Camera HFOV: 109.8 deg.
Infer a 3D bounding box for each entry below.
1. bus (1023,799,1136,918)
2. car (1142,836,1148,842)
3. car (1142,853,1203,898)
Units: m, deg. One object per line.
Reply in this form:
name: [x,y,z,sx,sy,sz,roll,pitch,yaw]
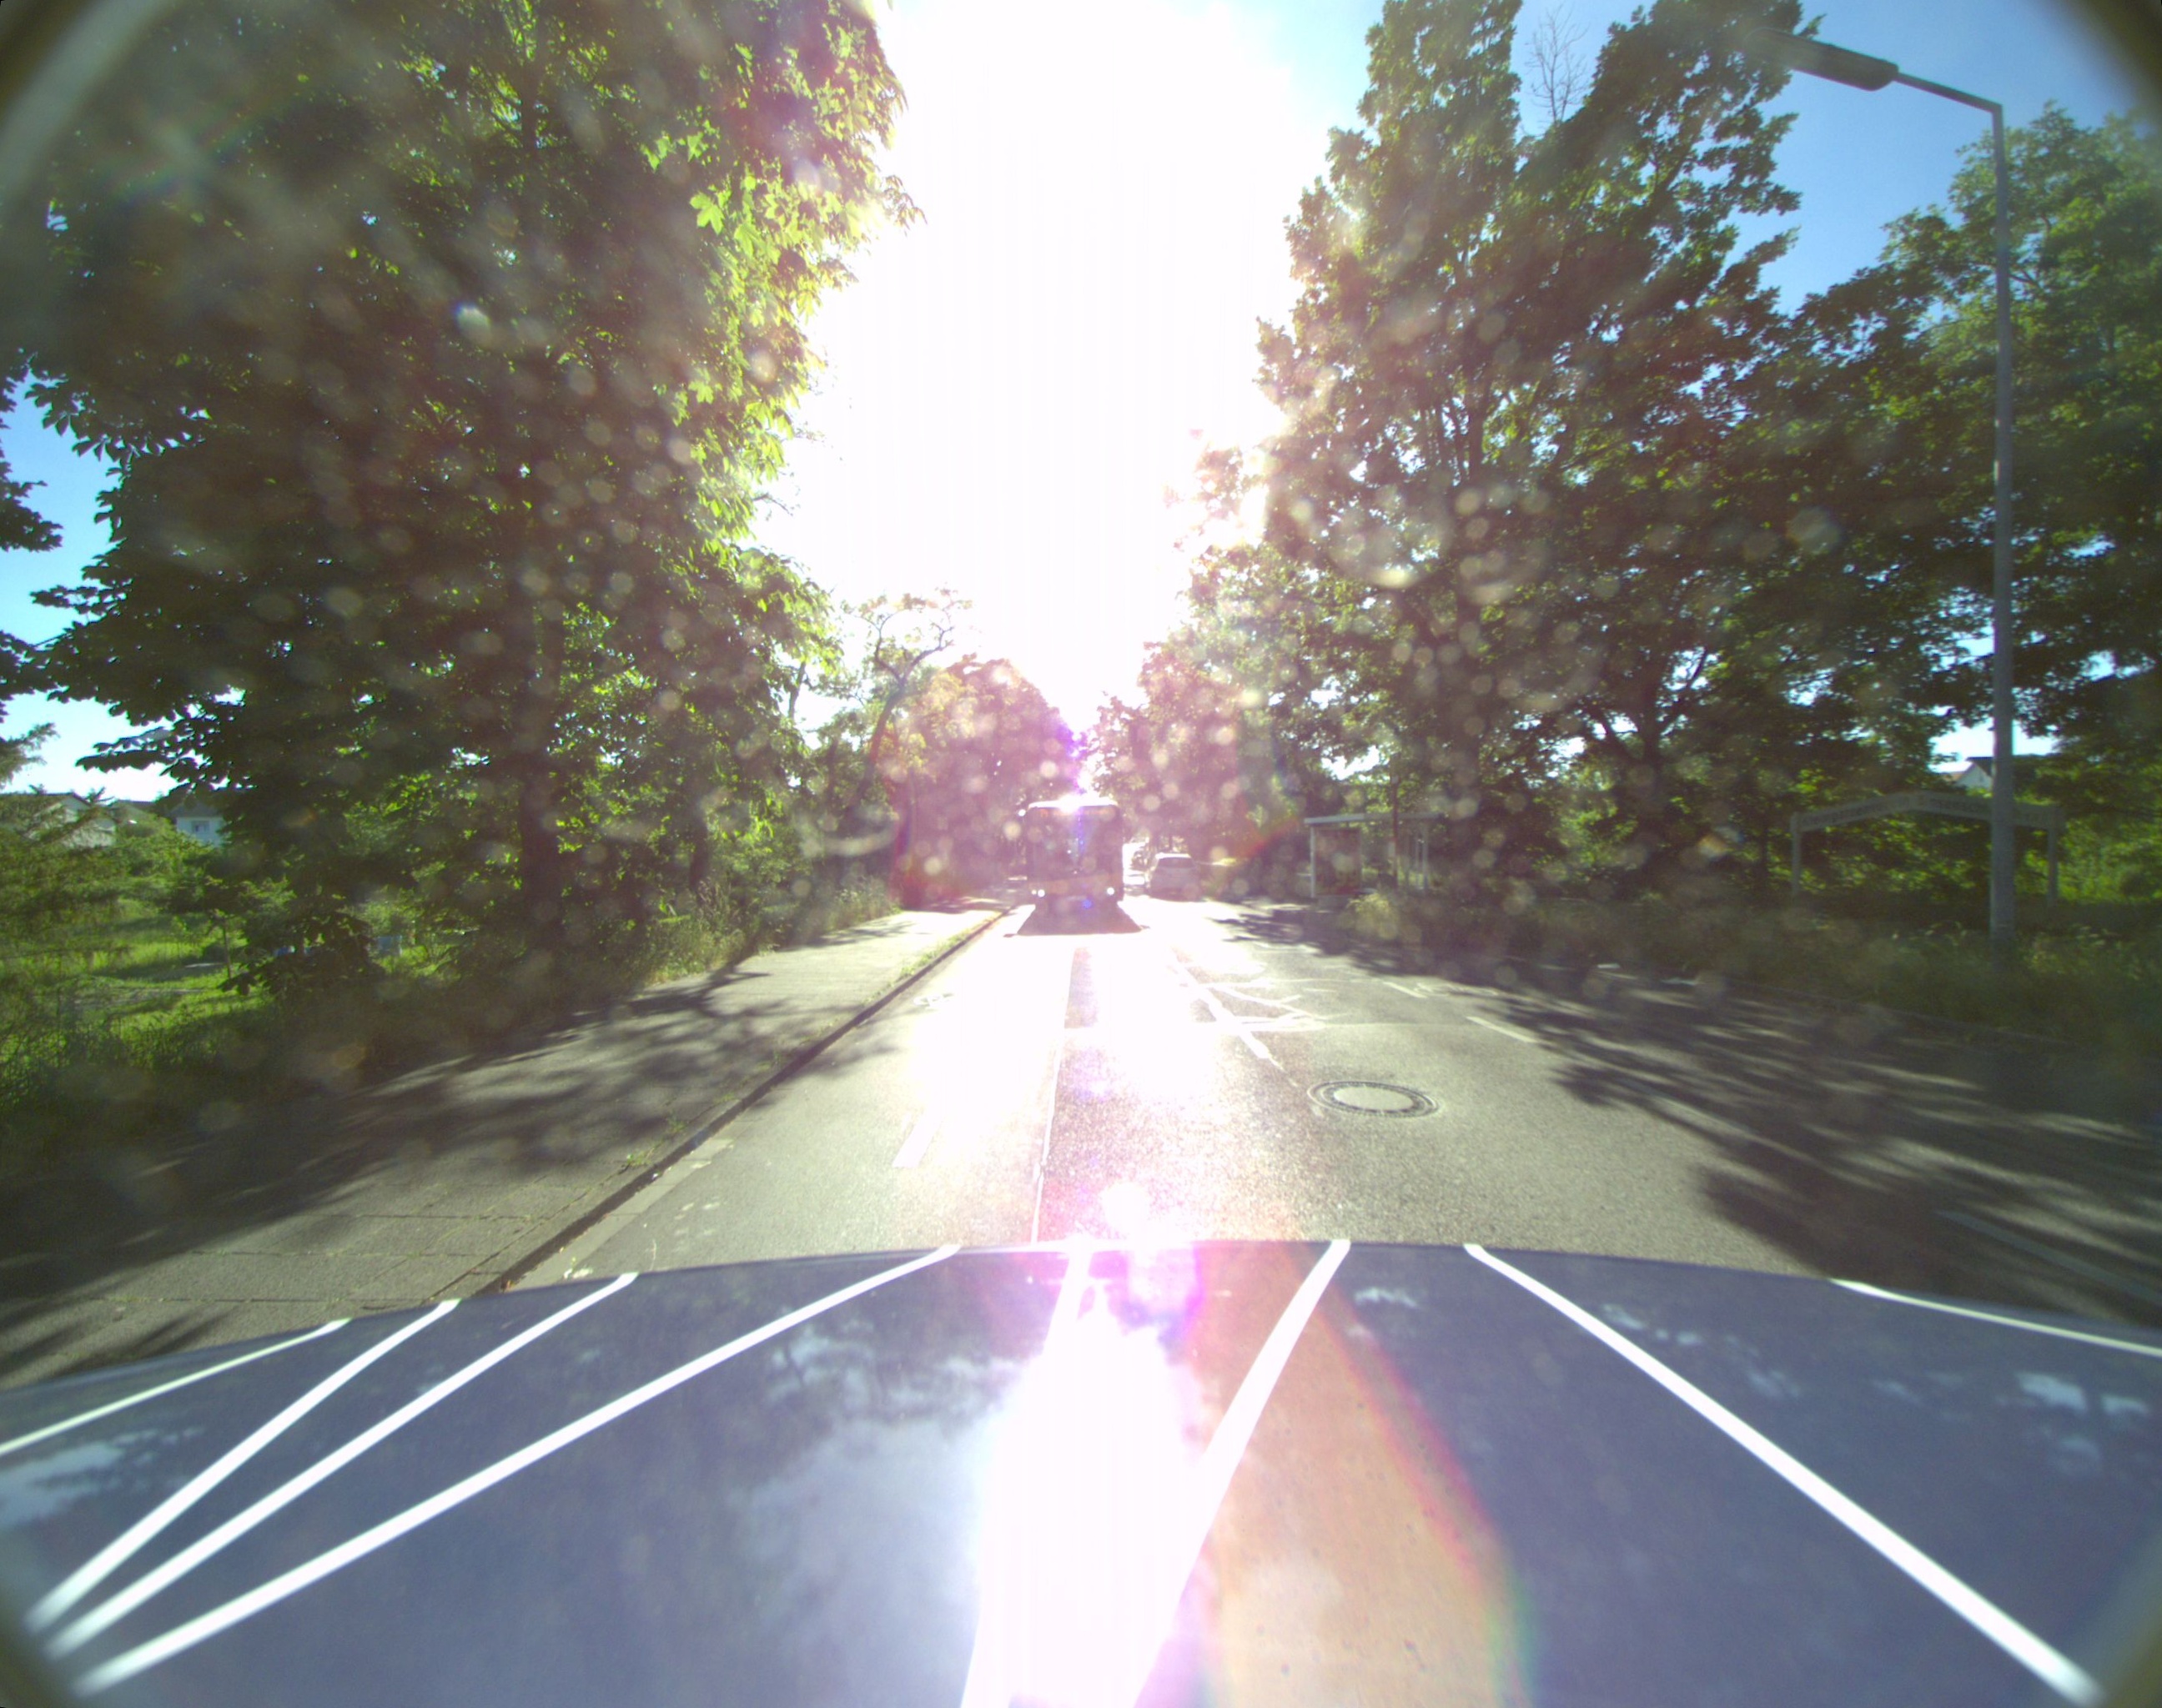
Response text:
bus: [-0.102,0.117,25.946,2.790,2.965,12.893,-2,0,-1]
car: [21.950,-5.120,259.778,1.817,1.769,3.903,-2,1,1]
car: [3.371,0.783,28.681,1.756,1.554,4.120,1,0,0]
